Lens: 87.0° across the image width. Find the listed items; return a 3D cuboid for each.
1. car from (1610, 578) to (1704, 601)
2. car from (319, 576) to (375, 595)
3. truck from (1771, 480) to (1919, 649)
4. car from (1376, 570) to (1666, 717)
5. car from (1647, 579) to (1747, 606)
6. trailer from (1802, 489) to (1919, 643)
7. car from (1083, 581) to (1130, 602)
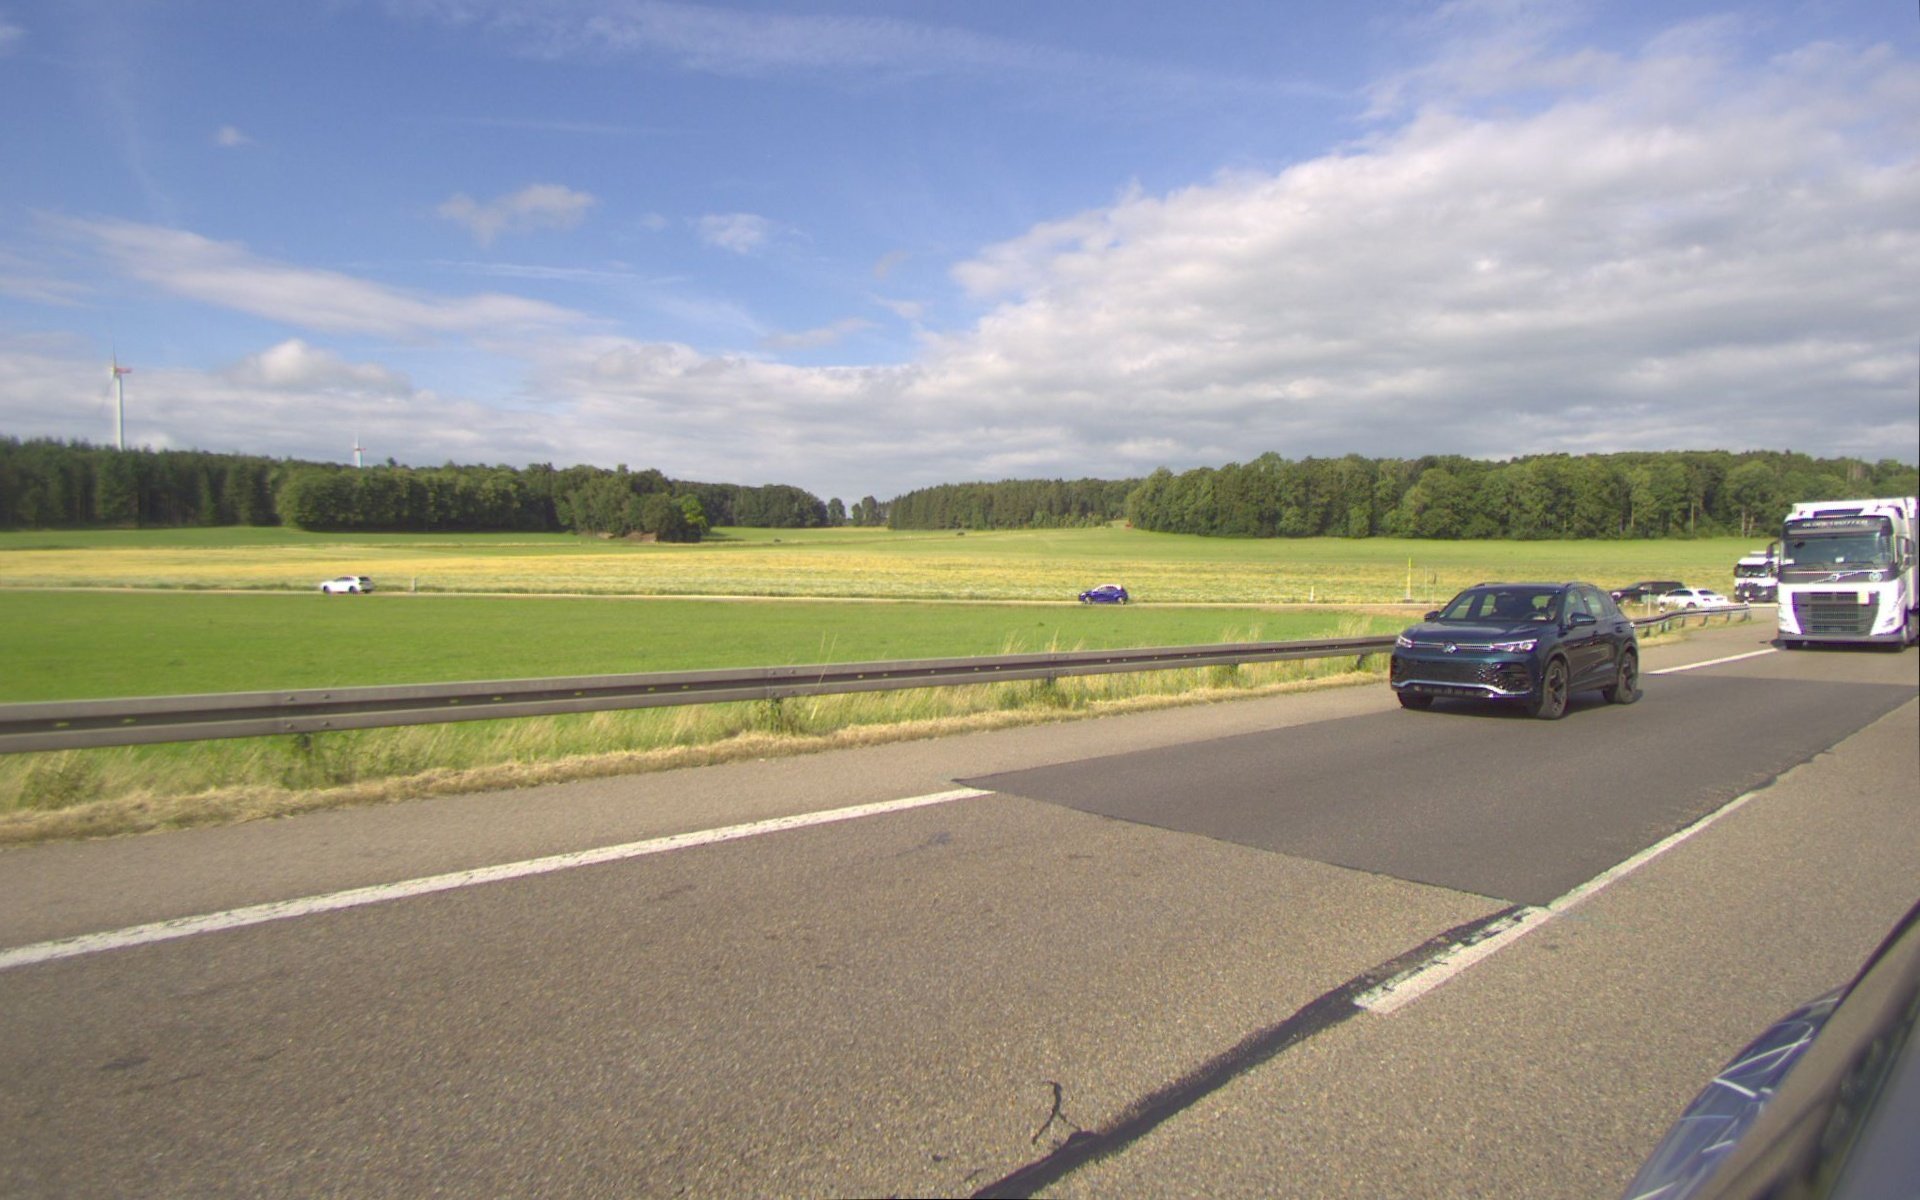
[{"bbox_3d":[48.604,-0.733,70.615,5.031,1.576,1.997,0,0,6],"label":"car"},{"bbox_3d":[-54.787,-1.307,90.541,3.933,1.638,1.995,0,0,9],"label":"car"},{"bbox_3d":[24.473,-0.897,27.285,6.385,4.040,2.841,-1,0,-39],"label":"truck"},{"bbox_3d":[7.420,0.443,13.251,4.046,1.616,1.998,-1,1,-39],"label":"car"},{"bbox_3d":[45.074,-0.482,62.052,1.959,1.565,5.088,0,1,-8],"label":"car"},{"bbox_3d":[29.204,-0.983,31.211,11.912,4.032,2.825,-1,1,-40],"label":"trailer"},{"bbox_3d":[11.324,-0.677,78.224,3.506,1.549,1.719,0,0,12],"label":"car"}]
